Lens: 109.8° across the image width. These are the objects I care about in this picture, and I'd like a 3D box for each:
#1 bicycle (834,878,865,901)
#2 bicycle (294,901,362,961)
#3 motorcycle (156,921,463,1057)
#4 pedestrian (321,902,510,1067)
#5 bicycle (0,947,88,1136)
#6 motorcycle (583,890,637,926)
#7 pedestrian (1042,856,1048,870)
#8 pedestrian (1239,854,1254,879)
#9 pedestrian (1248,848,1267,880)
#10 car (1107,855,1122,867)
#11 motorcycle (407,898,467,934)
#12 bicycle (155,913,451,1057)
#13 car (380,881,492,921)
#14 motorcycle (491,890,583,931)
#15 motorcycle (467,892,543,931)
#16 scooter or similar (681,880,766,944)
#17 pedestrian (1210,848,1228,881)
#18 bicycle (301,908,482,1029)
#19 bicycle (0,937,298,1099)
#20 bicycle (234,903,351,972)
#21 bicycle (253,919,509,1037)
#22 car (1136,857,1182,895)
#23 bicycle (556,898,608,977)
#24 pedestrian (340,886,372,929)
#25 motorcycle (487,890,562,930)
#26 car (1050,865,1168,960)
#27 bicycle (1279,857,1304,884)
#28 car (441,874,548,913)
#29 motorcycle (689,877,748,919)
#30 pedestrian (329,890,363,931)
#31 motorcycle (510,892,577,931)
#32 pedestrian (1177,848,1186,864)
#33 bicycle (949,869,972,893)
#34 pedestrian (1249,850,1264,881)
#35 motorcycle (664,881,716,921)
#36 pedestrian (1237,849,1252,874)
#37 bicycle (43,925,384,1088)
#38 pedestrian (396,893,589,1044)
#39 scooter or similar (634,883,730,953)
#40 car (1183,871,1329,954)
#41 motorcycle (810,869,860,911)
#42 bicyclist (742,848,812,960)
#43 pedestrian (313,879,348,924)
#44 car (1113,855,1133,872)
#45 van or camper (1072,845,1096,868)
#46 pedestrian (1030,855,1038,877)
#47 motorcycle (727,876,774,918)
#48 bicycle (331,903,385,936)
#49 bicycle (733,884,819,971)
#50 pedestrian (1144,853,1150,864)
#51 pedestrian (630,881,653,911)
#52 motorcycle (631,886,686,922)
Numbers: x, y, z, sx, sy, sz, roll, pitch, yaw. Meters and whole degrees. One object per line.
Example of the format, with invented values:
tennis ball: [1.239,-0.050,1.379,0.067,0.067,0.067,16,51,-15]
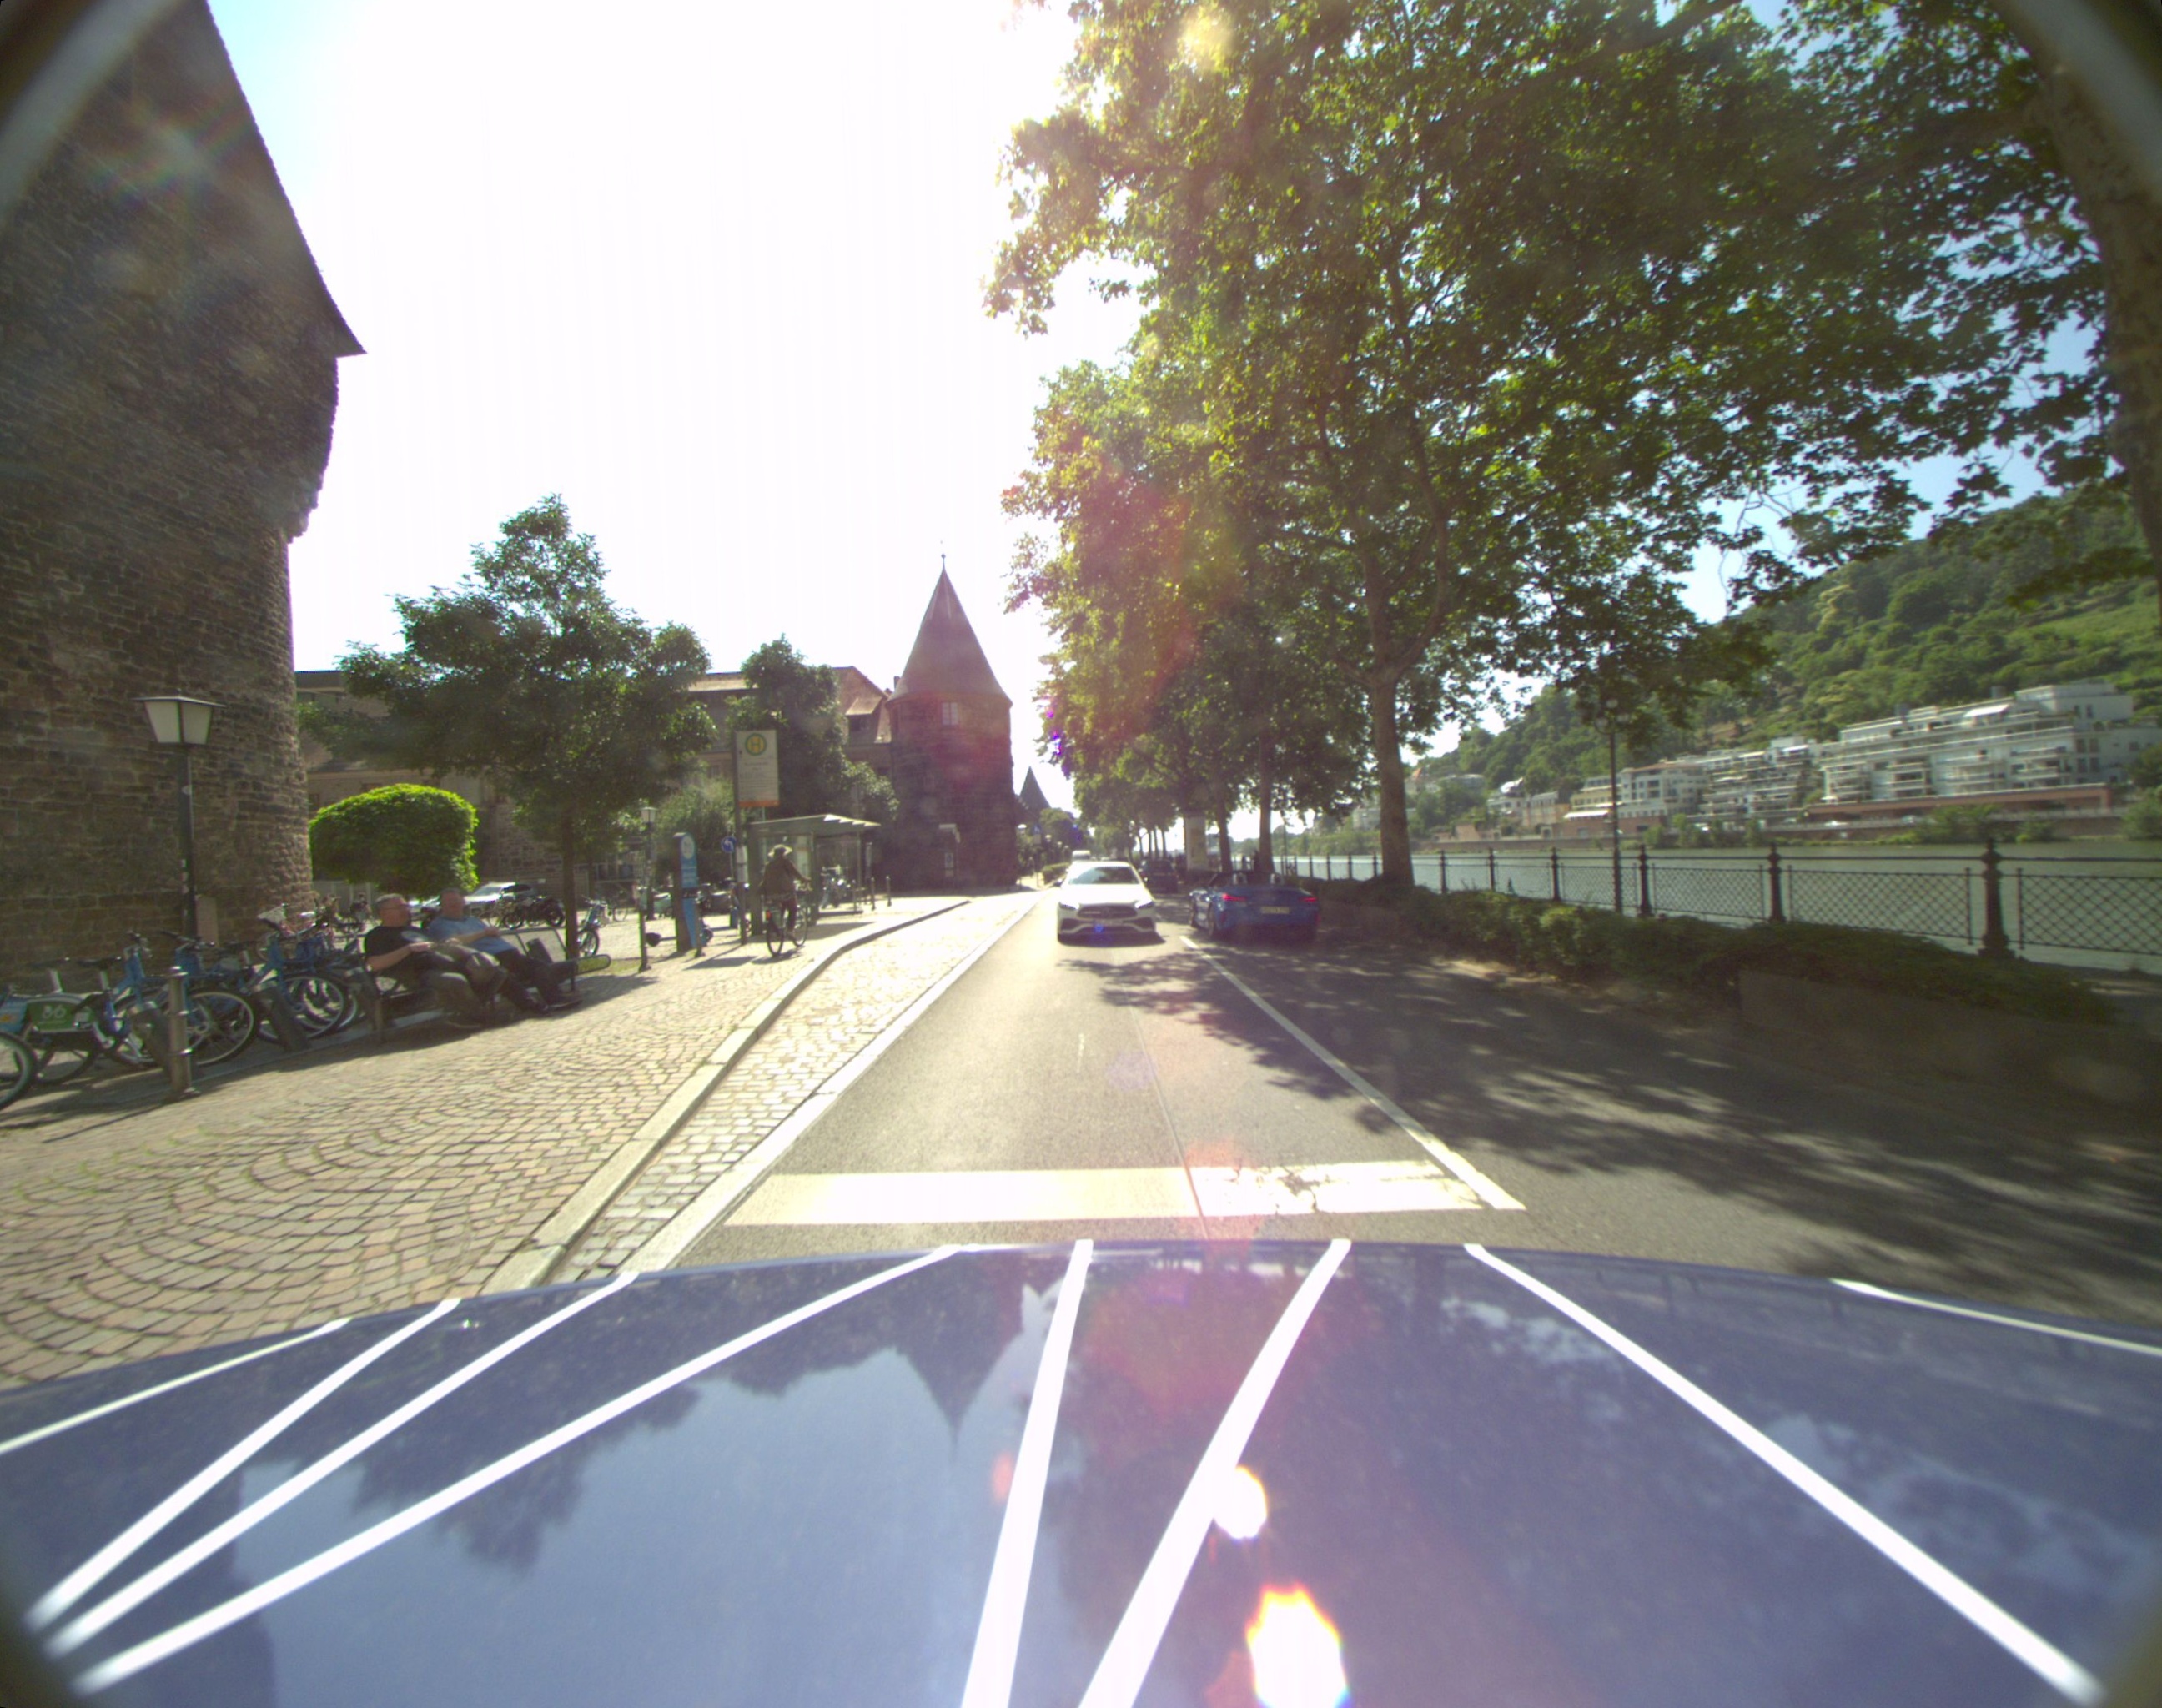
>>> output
bicycle: [-10.999,1.667,36.128,0.659,0.996,1.714,-3,0,10]
bicycle: [-16.579,1.661,16.768,0.548,1.146,1.922,-3,1,-30]
motorcycle: [-7.669,1.319,7.633,2.210,1.097,0.776,-4,0,-1]
pedestrian: [-5.788,1.109,6.662,0.963,1.274,0.693,-3,1,-1]
bicycle: [-8.147,1.317,5.128,2.085,1.191,0.527,-4,0,-1]
motorcycle: [-15.773,1.780,25.502,0.631,1.074,1.929,-3,-1,-3]
pedestrian: [-4.318,1.099,91.630,0.592,1.662,0.441,-2,1,0]
pedestrian: [8.853,0.660,40.572,0.633,1.312,0.553,-2,1,0]
pedestrian: [9.442,0.514,40.664,0.793,1.674,0.709,-2,1,0]
car: [4.850,0.983,109.814,1.998,1.598,4.257,-2,0,0]
motorcycle: [-22.989,2.199,27.165,0.599,1.153,1.917,-2,-2,-5]
bicycle: [-7.735,1.276,7.632,2.085,1.191,0.776,-4,0,-1]
car: [-34.372,2.455,40.679,1.998,1.608,4.425,-2,2,4]
motorcycle: [-17.602,1.817,24.623,2.342,1.140,0.878,-3,1,4]
motorcycle: [-20.481,2.025,27.053,0.598,1.229,2.050,-2,1,27]
scooter or similar: [-7.664,1.230,16.323,1.434,1.208,0.652,-4,1,0]
pedestrian: [7.491,0.549,41.218,0.760,1.720,0.730,-2,1,0]
bicycle: [-8.700,1.428,9.625,1.551,1.190,0.725,-11,-1,7]
bicycle: [-7.716,1.305,6.128,2.085,1.079,0.604,-4,0,-1]
bicycle: [-15.816,1.633,15.312,0.527,1.154,1.925,-3,0,-9]
bicycle: [-7.711,1.343,8.449,2.029,1.059,0.801,-4,0,-1]
car: [3.380,0.928,33.579,1.705,1.509,4.405,1,0,2]
bicycle: [-8.264,1.341,12.628,0.548,1.125,1.734,-3,1,-29]
pedestrian: [-29.967,2.213,31.408,0.661,1.730,0.606,-2,0,5]
motorcycle: [-19.782,1.974,27.061,0.598,1.229,2.049,-2,1,26]
car: [0.495,0.973,14.629,1.875,1.416,4.744,-1,0,1]
bicycle: [9.706,0.740,35.143,0.564,1.146,1.844,-4,0,0]
car: [-31.191,2.067,40.626,1.998,1.608,4.425,-2,2,4]
motorcycle: [-11.998,1.437,25.247,0.740,1.229,2.272,-2,0,3]
pedestrian: [-29.948,2.305,30.975,0.661,1.620,0.674,-2,0,5]
motorcycle: [-18.783,1.992,26.622,0.742,1.138,2.020,-4,0,3]
pedestrian: [11.033,0.246,83.285,0.760,1.697,0.730,-2,1,0]
bicycle: [-6.166,1.381,39.039,0.845,1.146,1.844,-2,0,0]
pedestrian: [9.378,0.611,40.604,0.633,1.618,0.553,-2,1,0]
motorcycle: [-12.910,1.533,25.140,0.671,1.224,1.807,-3,-1,3]
pedestrian: [8.748,0.414,40.700,0.633,1.312,0.553,-2,1,0]
bicycle: [-7.727,1.329,6.848,2.085,1.191,0.776,-4,0,-1]
pedestrian: [-5.642,1.068,7.342,1.250,1.300,0.693,-2,1,-1]
scooter or similar: [-7.773,1.234,14.848,1.434,1.208,0.652,-4,1,0]
car: [3.235,1.028,14.934,1.845,1.262,4.261,1,0,0]
motorcycle: [-8.189,1.174,25.426,0.885,1.285,2.528,-4,-1,-3]
bicyclist: [-4.647,0.743,11.678,0.711,1.619,0.886,-3,1,-7]
pedestrian: [-29.875,1.878,30.269,0.661,1.730,0.674,-2,0,5]
car: [4.278,0.958,77.402,1.875,1.661,4.745,-1,-1,1]
van or camper: [0.298,0.235,81.379,2.437,2.271,6.203,-2,0,0]
pedestrian: [-4.149,1.048,66.940,0.556,1.844,1.023,-2,0,1]
motorcycle: [-11.106,1.416,25.602,0.660,1.229,2.215,-3,0,-3]
bicycle: [-26.696,2.403,28.100,0.422,1.008,1.713,-2,1,-5]
bicycle: [-4.633,1.070,11.694,0.691,1.123,2.008,-3,0,-7]
pedestrian: [10.091,0.662,116.108,0.760,1.696,0.730,-2,0,3]
pedestrian: [-21.947,2.083,37.980,0.660,1.413,0.675,-2,2,31]
motorcycle: [-14.725,1.737,26.548,0.877,1.087,1.905,-3,0,-3]
